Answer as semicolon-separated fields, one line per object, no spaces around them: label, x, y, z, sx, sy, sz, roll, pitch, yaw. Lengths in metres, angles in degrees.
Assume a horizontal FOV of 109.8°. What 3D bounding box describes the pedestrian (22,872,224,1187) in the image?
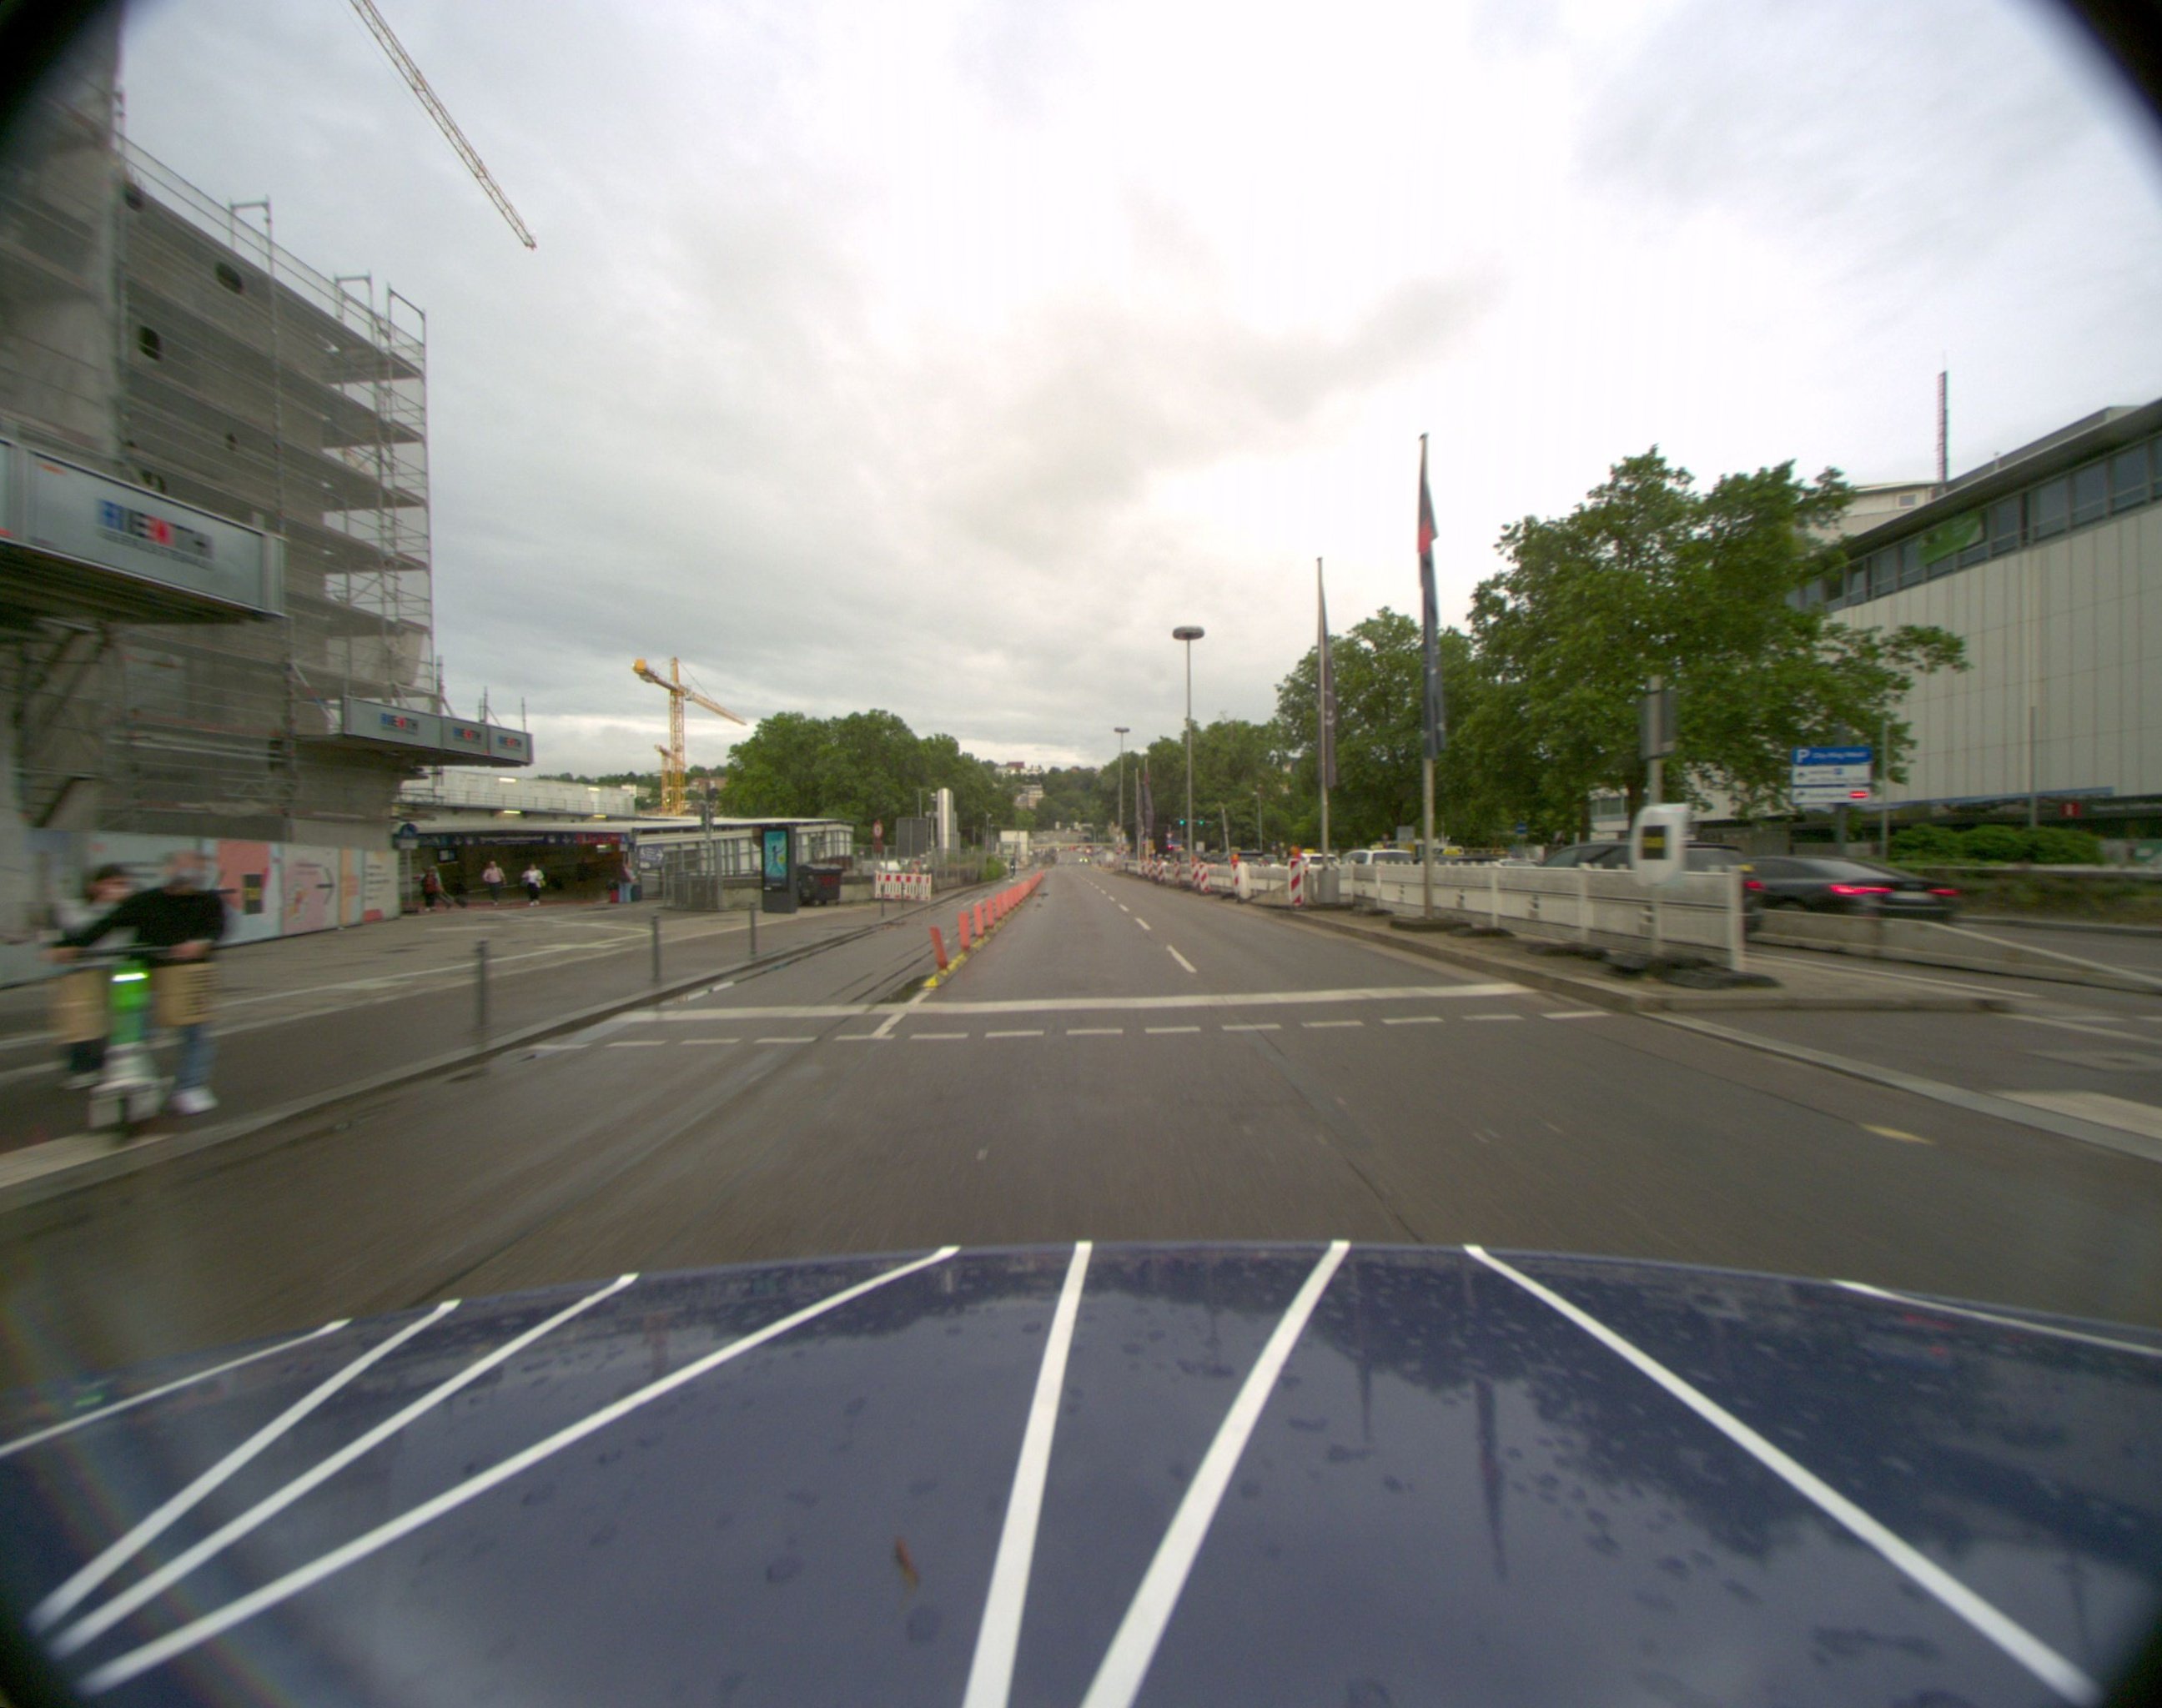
pedestrian;-5.873;0.985;4.711;0.582;1.730;0.820;-1;0;-39

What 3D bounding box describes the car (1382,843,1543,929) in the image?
car;9.560;0.763;19.513;1.907;1.886;4.524;-2;-1;2

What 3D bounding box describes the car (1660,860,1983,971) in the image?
car;12.674;0.949;13.449;1.818;1.601;4.045;2;-1;2

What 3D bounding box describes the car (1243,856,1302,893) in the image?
car;9.807;1.032;39.278;1.895;1.692;4.422;-2;-1;0

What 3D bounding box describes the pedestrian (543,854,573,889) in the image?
pedestrian;-26.602;0.894;38.663;0.951;1.783;0.770;0;0;1

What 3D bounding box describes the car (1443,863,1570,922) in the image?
car;13.283;1.140;23.992;1.838;1.636;3.805;-2;-1;0

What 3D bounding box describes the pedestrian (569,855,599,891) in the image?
pedestrian;-24.731;0.941;37.820;0.951;1.783;0.770;0;0;1

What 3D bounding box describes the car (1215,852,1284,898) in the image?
car;7.011;0.871;32.197;1.998;1.806;4.812;0;-1;2

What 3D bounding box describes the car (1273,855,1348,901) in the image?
car;9.845;0.998;32.897;1.919;1.840;4.567;0;-1;1

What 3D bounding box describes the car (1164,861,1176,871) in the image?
car;13.400;1.782;114.402;1.682;1.533;3.175;0;-1;4

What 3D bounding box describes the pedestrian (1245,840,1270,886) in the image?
pedestrian;7.803;0.393;33.670;0.878;2.002;0.821;-1;0;-2

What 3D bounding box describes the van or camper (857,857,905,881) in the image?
van or camper;-21.313;1.615;80.810;2.391;2.387;6.047;1;-2;-43

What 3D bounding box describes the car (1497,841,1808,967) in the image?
car;9.221;0.725;12.877;1.907;1.689;4.501;-2;-1;2

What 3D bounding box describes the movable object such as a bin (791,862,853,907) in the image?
movable object such as a bin;-8.919;1.029;26.185;1.299;1.483;1.537;0;0;33

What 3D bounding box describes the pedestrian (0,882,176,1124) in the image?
pedestrian;-7.314;1.041;5.582;0.559;1.641;0.615;2;0;5

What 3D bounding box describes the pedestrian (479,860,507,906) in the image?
pedestrian;-24.222;1.198;31.333;0.863;1.865;0.640;-1;1;-35

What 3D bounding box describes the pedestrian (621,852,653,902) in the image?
pedestrian;-18.412;0.950;31.532;0.806;2.002;0.765;-3;1;-4

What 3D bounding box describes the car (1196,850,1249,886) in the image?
car;7.313;0.738;39.686;1.998;1.760;4.812;0;-1;2

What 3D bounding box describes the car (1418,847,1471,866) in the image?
car;40.136;0.318;83.994;4.827;2.002;2.037;-1;0;9

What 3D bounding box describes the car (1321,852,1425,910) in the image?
car;9.433;0.852;24.964;1.788;1.712;4.484;0;-1;2

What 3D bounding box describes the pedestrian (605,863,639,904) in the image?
pedestrian;-18.457;1.186;30.536;0.857;1.584;0.709;-3;1;-4

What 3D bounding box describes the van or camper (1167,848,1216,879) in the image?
van or camper;6.834;0.589;47.599;1.951;1.809;5.390;1;0;-3

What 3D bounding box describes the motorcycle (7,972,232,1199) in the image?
motorcycle;-5.877;1.340;4.724;0.587;1.015;1.236;-1;0;-39

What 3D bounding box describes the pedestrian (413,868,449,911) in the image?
pedestrian;-23.094;1.255;27.015;0.702;1.498;0.642;0;0;2

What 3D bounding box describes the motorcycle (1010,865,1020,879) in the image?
motorcycle;-5.846;1.558;67.528;0.730;1.221;2.161;0;-1;-2

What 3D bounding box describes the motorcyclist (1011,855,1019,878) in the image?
motorcyclist;-5.834;1.141;67.414;0.726;2.024;0.587;0;-1;-3

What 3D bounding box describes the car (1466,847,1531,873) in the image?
car;29.961;0.435;54.555;3.735;1.534;1.855;-4;1;41

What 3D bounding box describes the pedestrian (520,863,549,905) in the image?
pedestrian;-21.725;1.177;30.211;0.916;1.636;0.701;-1;0;-35

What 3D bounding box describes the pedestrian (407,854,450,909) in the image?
pedestrian;-24.109;0.993;28.076;0.765;2.002;0.933;0;0;1
